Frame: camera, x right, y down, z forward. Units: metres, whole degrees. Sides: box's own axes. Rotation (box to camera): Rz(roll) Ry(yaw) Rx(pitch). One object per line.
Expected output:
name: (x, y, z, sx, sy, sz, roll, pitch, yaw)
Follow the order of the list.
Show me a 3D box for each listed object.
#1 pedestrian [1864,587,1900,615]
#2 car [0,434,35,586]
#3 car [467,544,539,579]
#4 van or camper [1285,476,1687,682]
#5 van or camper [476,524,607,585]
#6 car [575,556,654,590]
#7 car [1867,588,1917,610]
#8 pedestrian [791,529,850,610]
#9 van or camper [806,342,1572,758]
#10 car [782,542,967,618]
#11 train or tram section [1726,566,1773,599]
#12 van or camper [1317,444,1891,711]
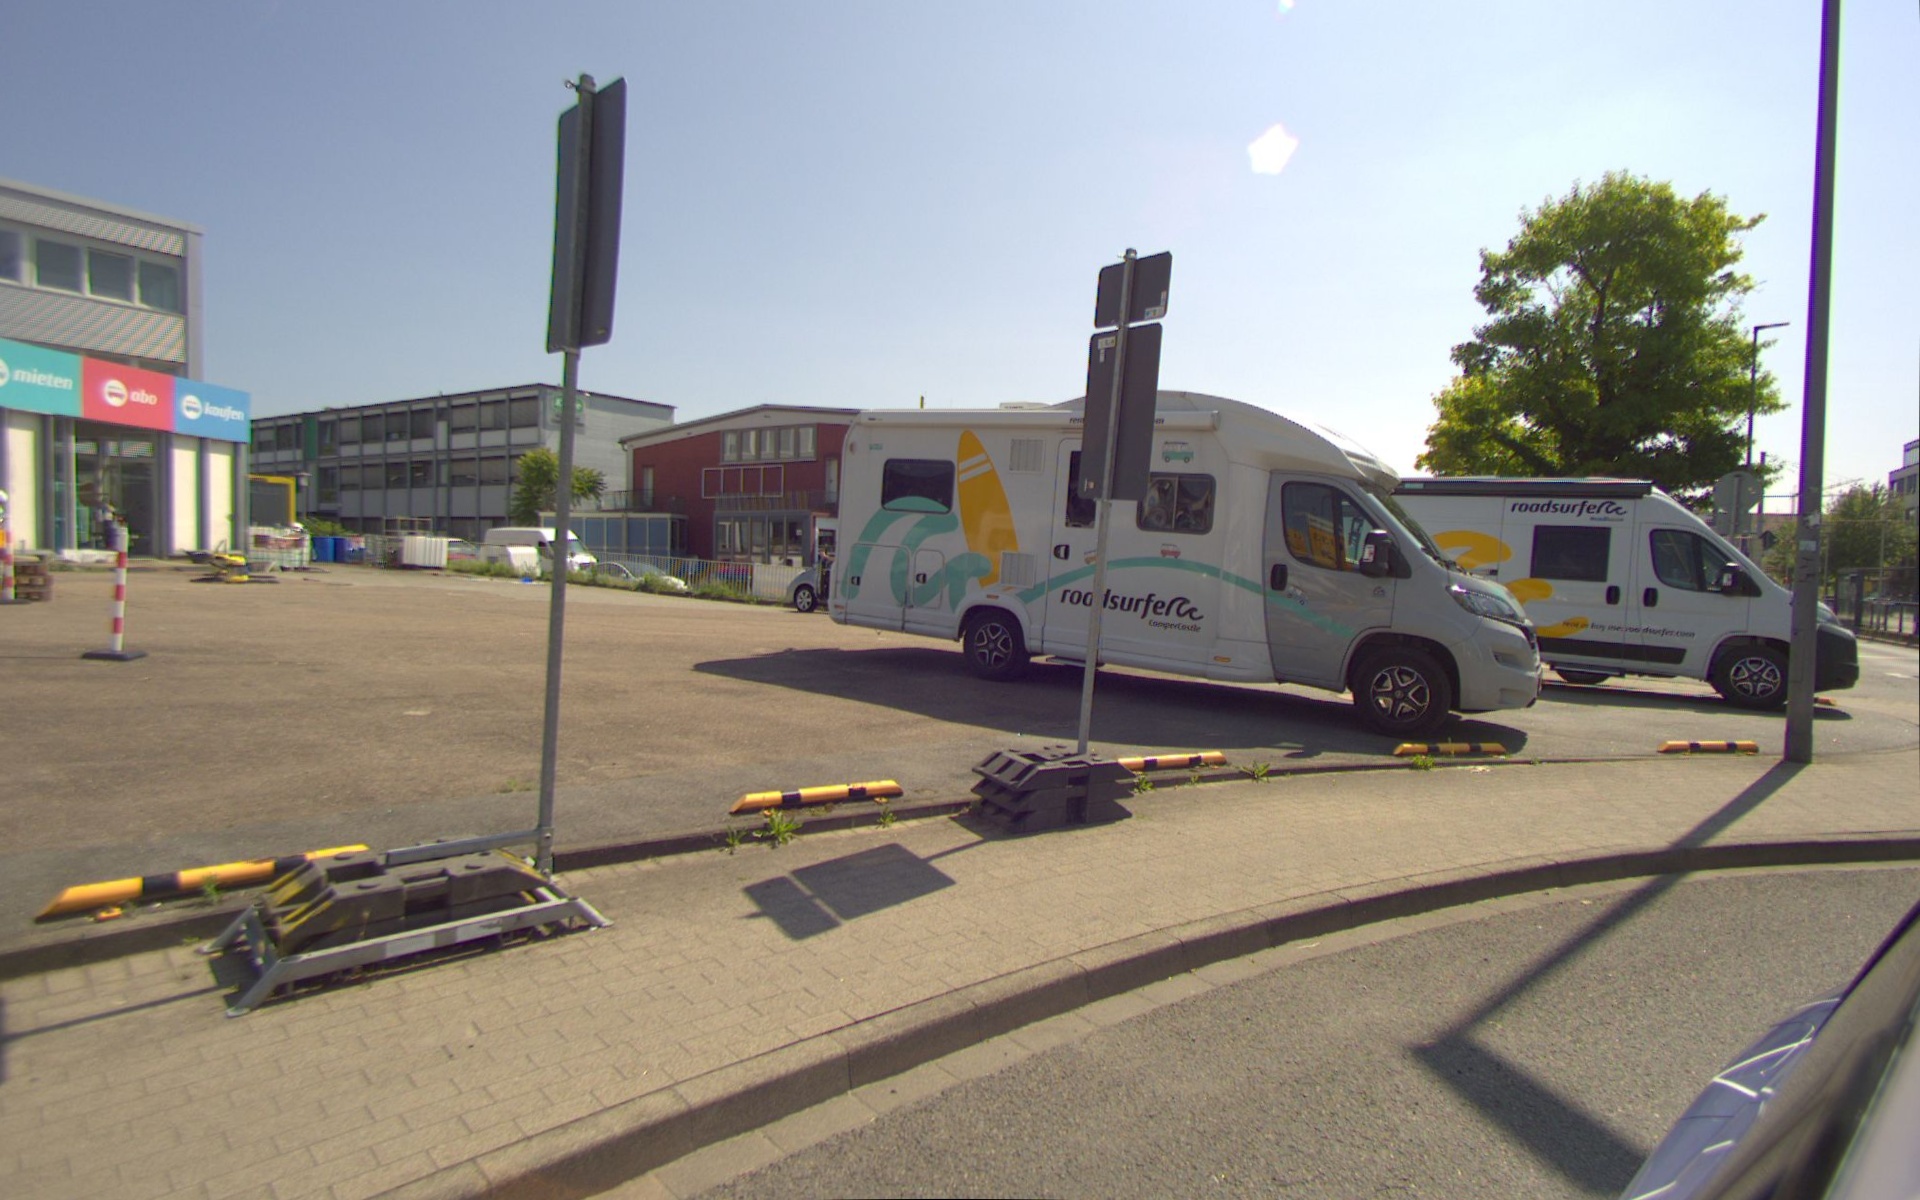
pedestrian: (38.461, 0.027, 42.220, 0.939, 1.113, 0.718, 2, 1, 32)
car: (-14.430, -1.249, 13.679, 5.077, 1.899, 2.069, 4, 4, 38)
car: (-17.941, -1.530, 39.706, 2.918, 1.264, 1.210, 3, 3, 34)
van or camper: (8.390, -0.366, 16.457, 5.493, 2.850, 2.020, 2, 0, 37)
van or camper: (-19.685, -2.149, 47.461, 6.696, 2.712, 2.318, 3, 2, 34)
car: (-12.255, -0.967, 35.905, 2.838, 1.108, 1.166, 3, 3, 34)
car: (70.936, -0.087, 77.096, 1.899, 1.459, 4.544, 5, 3, 31)
pedestrian: (-3.026, -0.668, 21.954, 0.775, 1.692, 0.931, 4, 3, 44)
van or camper: (1.911, -0.633, 10.153, 7.036, 2.981, 2.308, 5, 4, 33)
car: (-1.972, -0.469, 23.183, 3.863, 1.534, 1.797, 3, 0, 30)
train or tram section: (91.037, -2.005, 116.820, 2.662, 3.527, 12.192, 3, 2, 31)
van or camper: (7.950, -0.389, 13.186, 5.795, 2.808, 2.064, 4, 2, 36)
